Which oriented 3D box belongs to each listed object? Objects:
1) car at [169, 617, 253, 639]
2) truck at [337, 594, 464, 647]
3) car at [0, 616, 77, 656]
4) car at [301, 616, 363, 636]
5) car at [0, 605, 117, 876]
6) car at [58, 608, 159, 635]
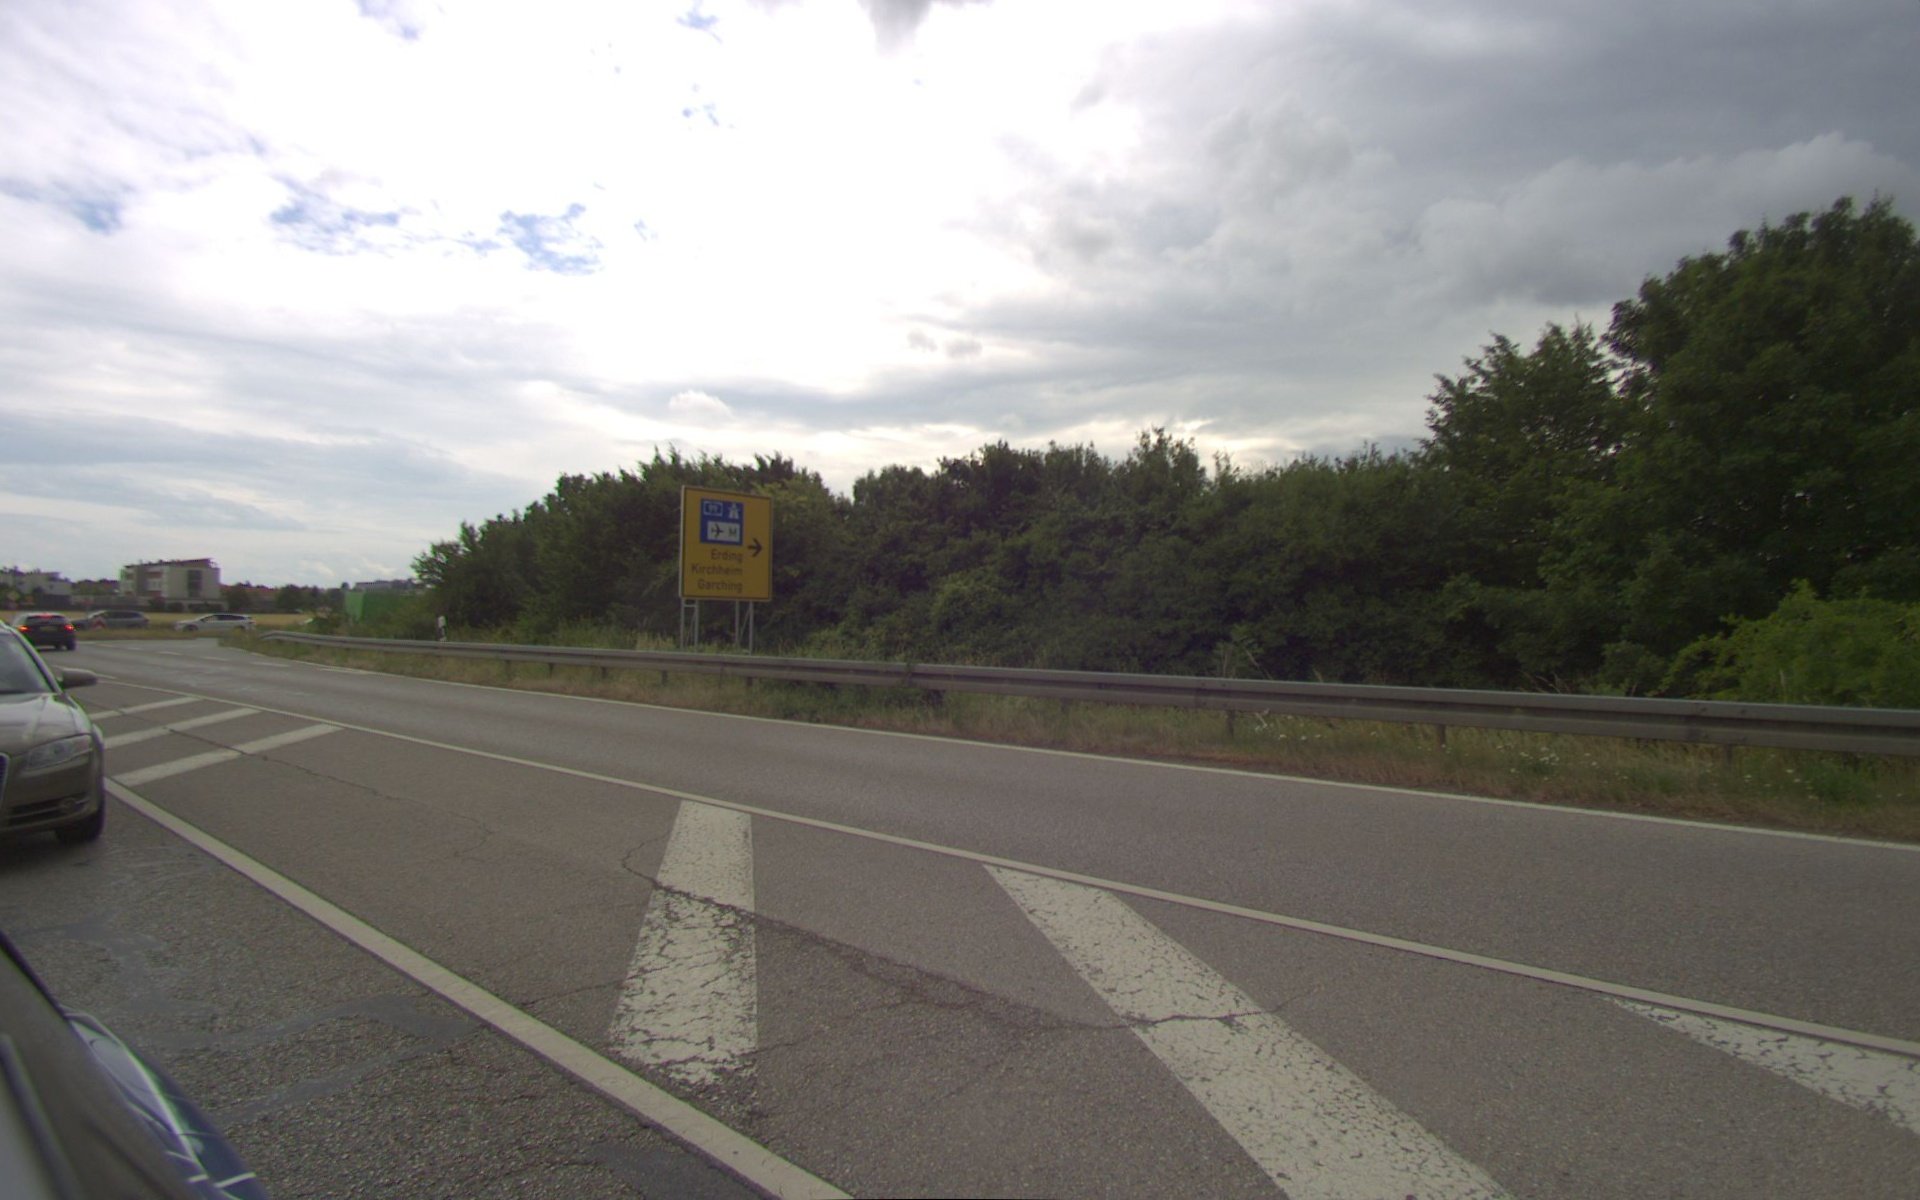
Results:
[{"bbox_3d":[-52.308,1.923,70.715,4.605,1.510,2.004,1,-1,-40],"label":"car"},{"bbox_3d":[-40.013,1.397,72.696,2.924,3.589,7.522,-1,0,32],"label":"truck"},{"bbox_3d":[-35.906,1.354,39.319,4.443,1.461,1.781,-1,-1,40],"label":"car"},{"bbox_3d":[-46.663,1.920,75.211,3.662,1.510,1.732,1,-1,-42],"label":"car"},{"bbox_3d":[-6.992,0.776,6.553,4.202,1.455,1.708,-1,-1,41],"label":"car"},{"bbox_3d":[-55.959,1.398,66.555,1.997,1.702,4.757,-1,-1,37],"label":"car"}]
